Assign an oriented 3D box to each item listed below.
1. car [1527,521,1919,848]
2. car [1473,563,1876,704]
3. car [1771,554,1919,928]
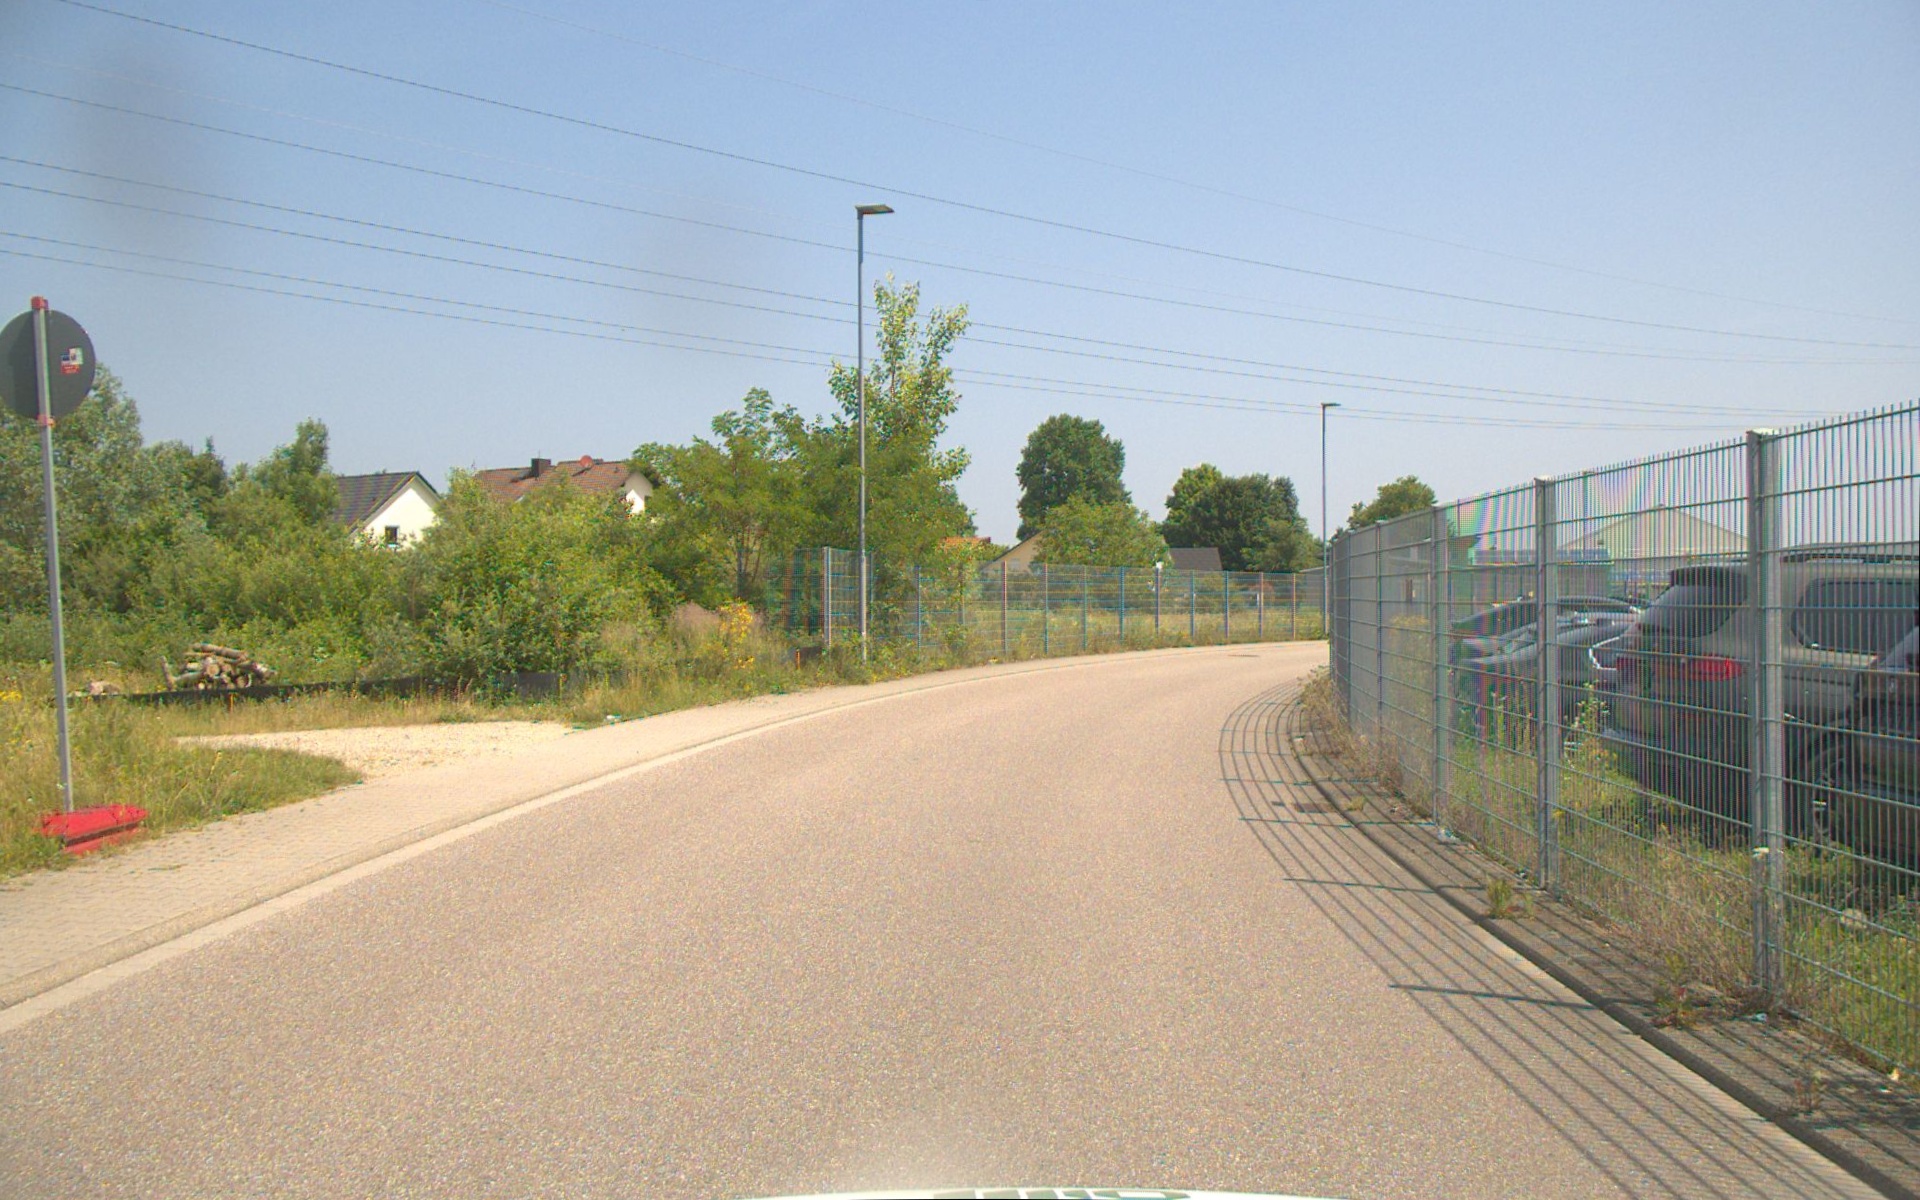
[{"bbox_3d":[5.978,0.447,9.912,4.586,1.800,1.744,-1,0,6],"label":"car"},{"bbox_3d":[8.638,0.395,20.400,4.375,1.610,1.797,-1,0,18],"label":"car"},{"bbox_3d":[6.312,0.580,7.713,4.205,1.631,1.693,-1,0,3],"label":"car"}]
